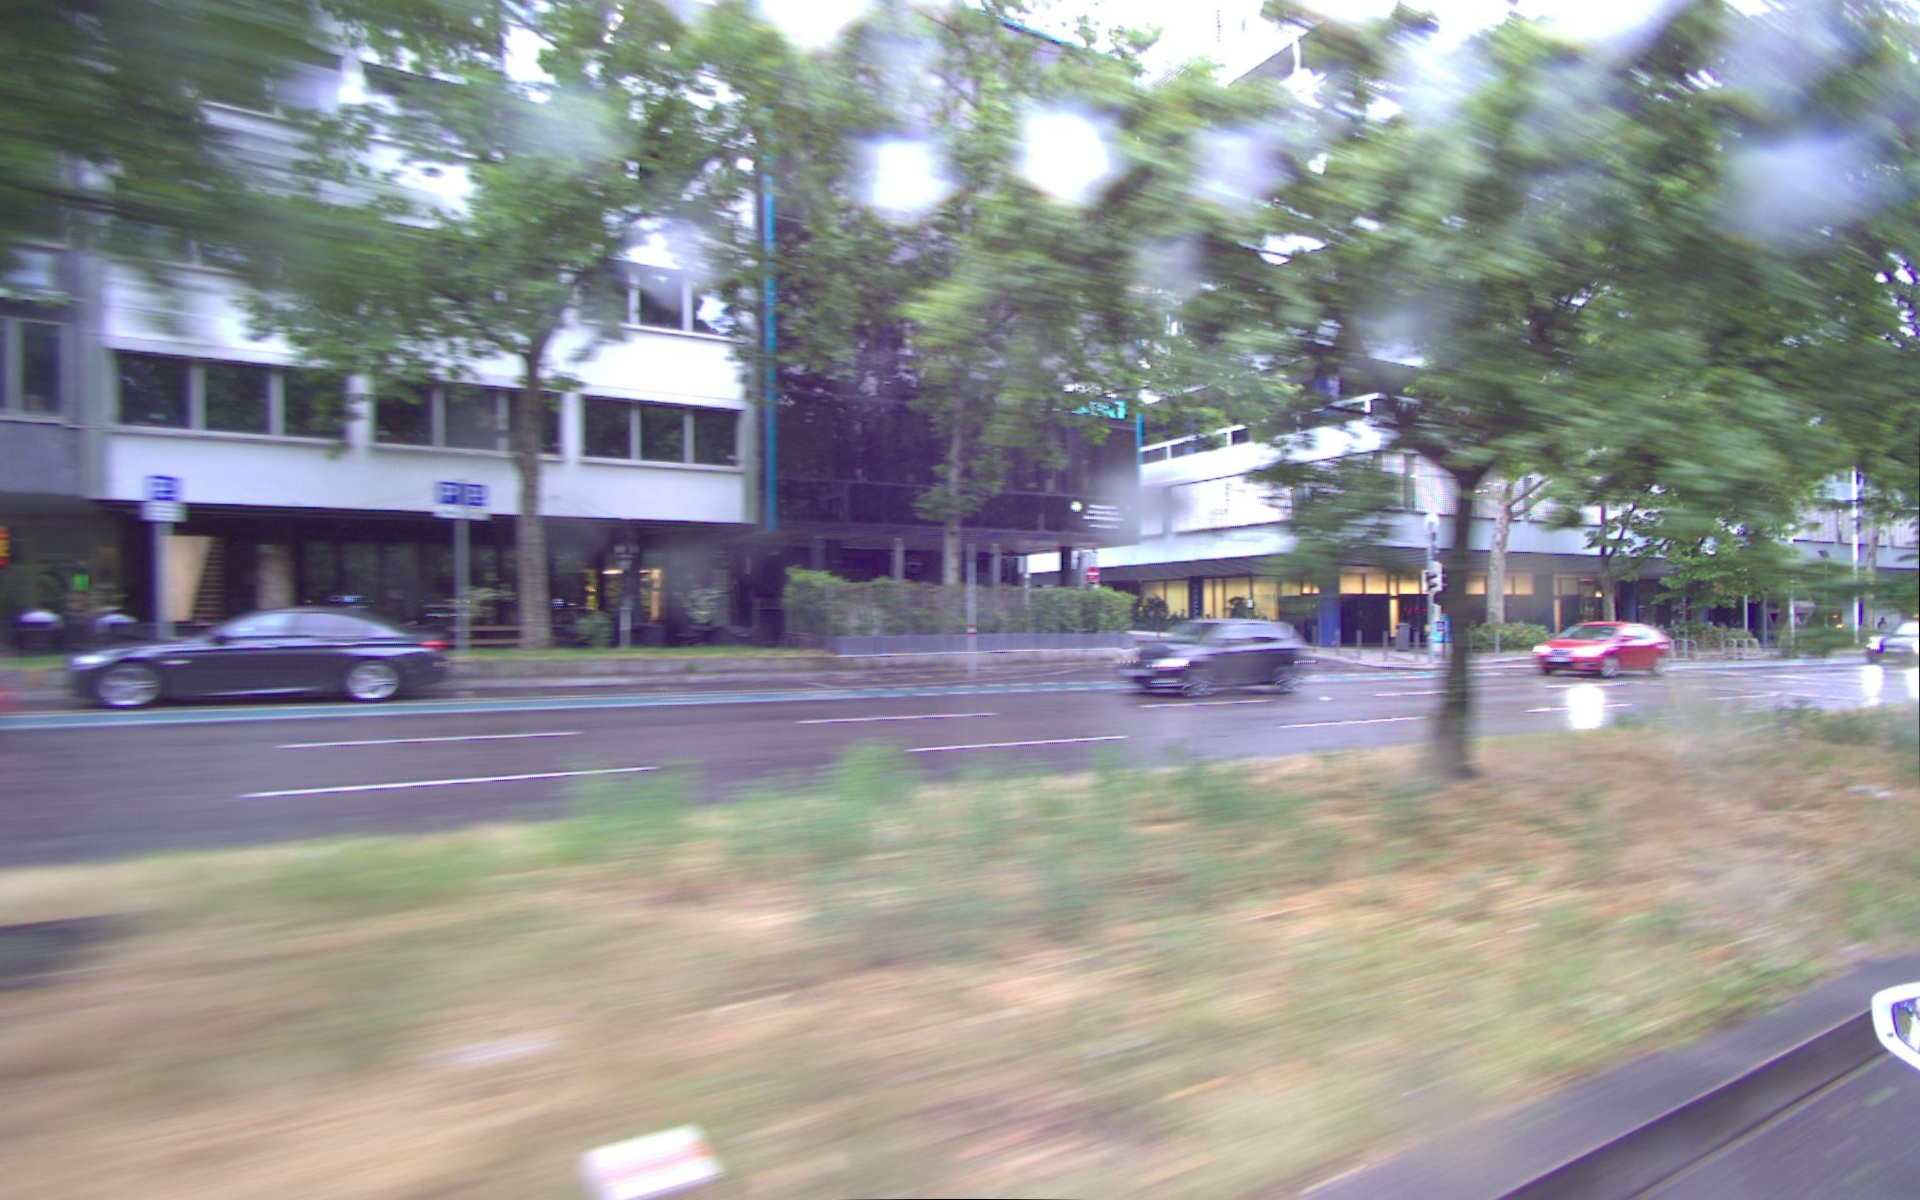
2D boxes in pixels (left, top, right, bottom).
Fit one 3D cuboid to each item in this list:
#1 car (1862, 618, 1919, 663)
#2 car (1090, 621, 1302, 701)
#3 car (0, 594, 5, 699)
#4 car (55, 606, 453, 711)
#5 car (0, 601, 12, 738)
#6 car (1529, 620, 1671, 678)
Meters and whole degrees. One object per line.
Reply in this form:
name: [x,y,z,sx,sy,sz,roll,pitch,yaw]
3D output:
car: [35.616,1.492,37.491,4.142,1.572,1.820,1,-1,-32]
car: [4.670,1.129,19.763,3.954,1.408,1.834,1,-1,-31]
car: [-14.769,0.655,12.826,3.420,1.488,1.684,0,0,-31]
car: [-10.560,0.806,15.554,4.842,1.428,1.686,0,0,-28]
car: [-11.389,0.742,9.876,2.699,1.483,1.487,0,0,-30]
car: [17.401,1.270,27.271,4.136,1.412,1.606,0,0,-31]
